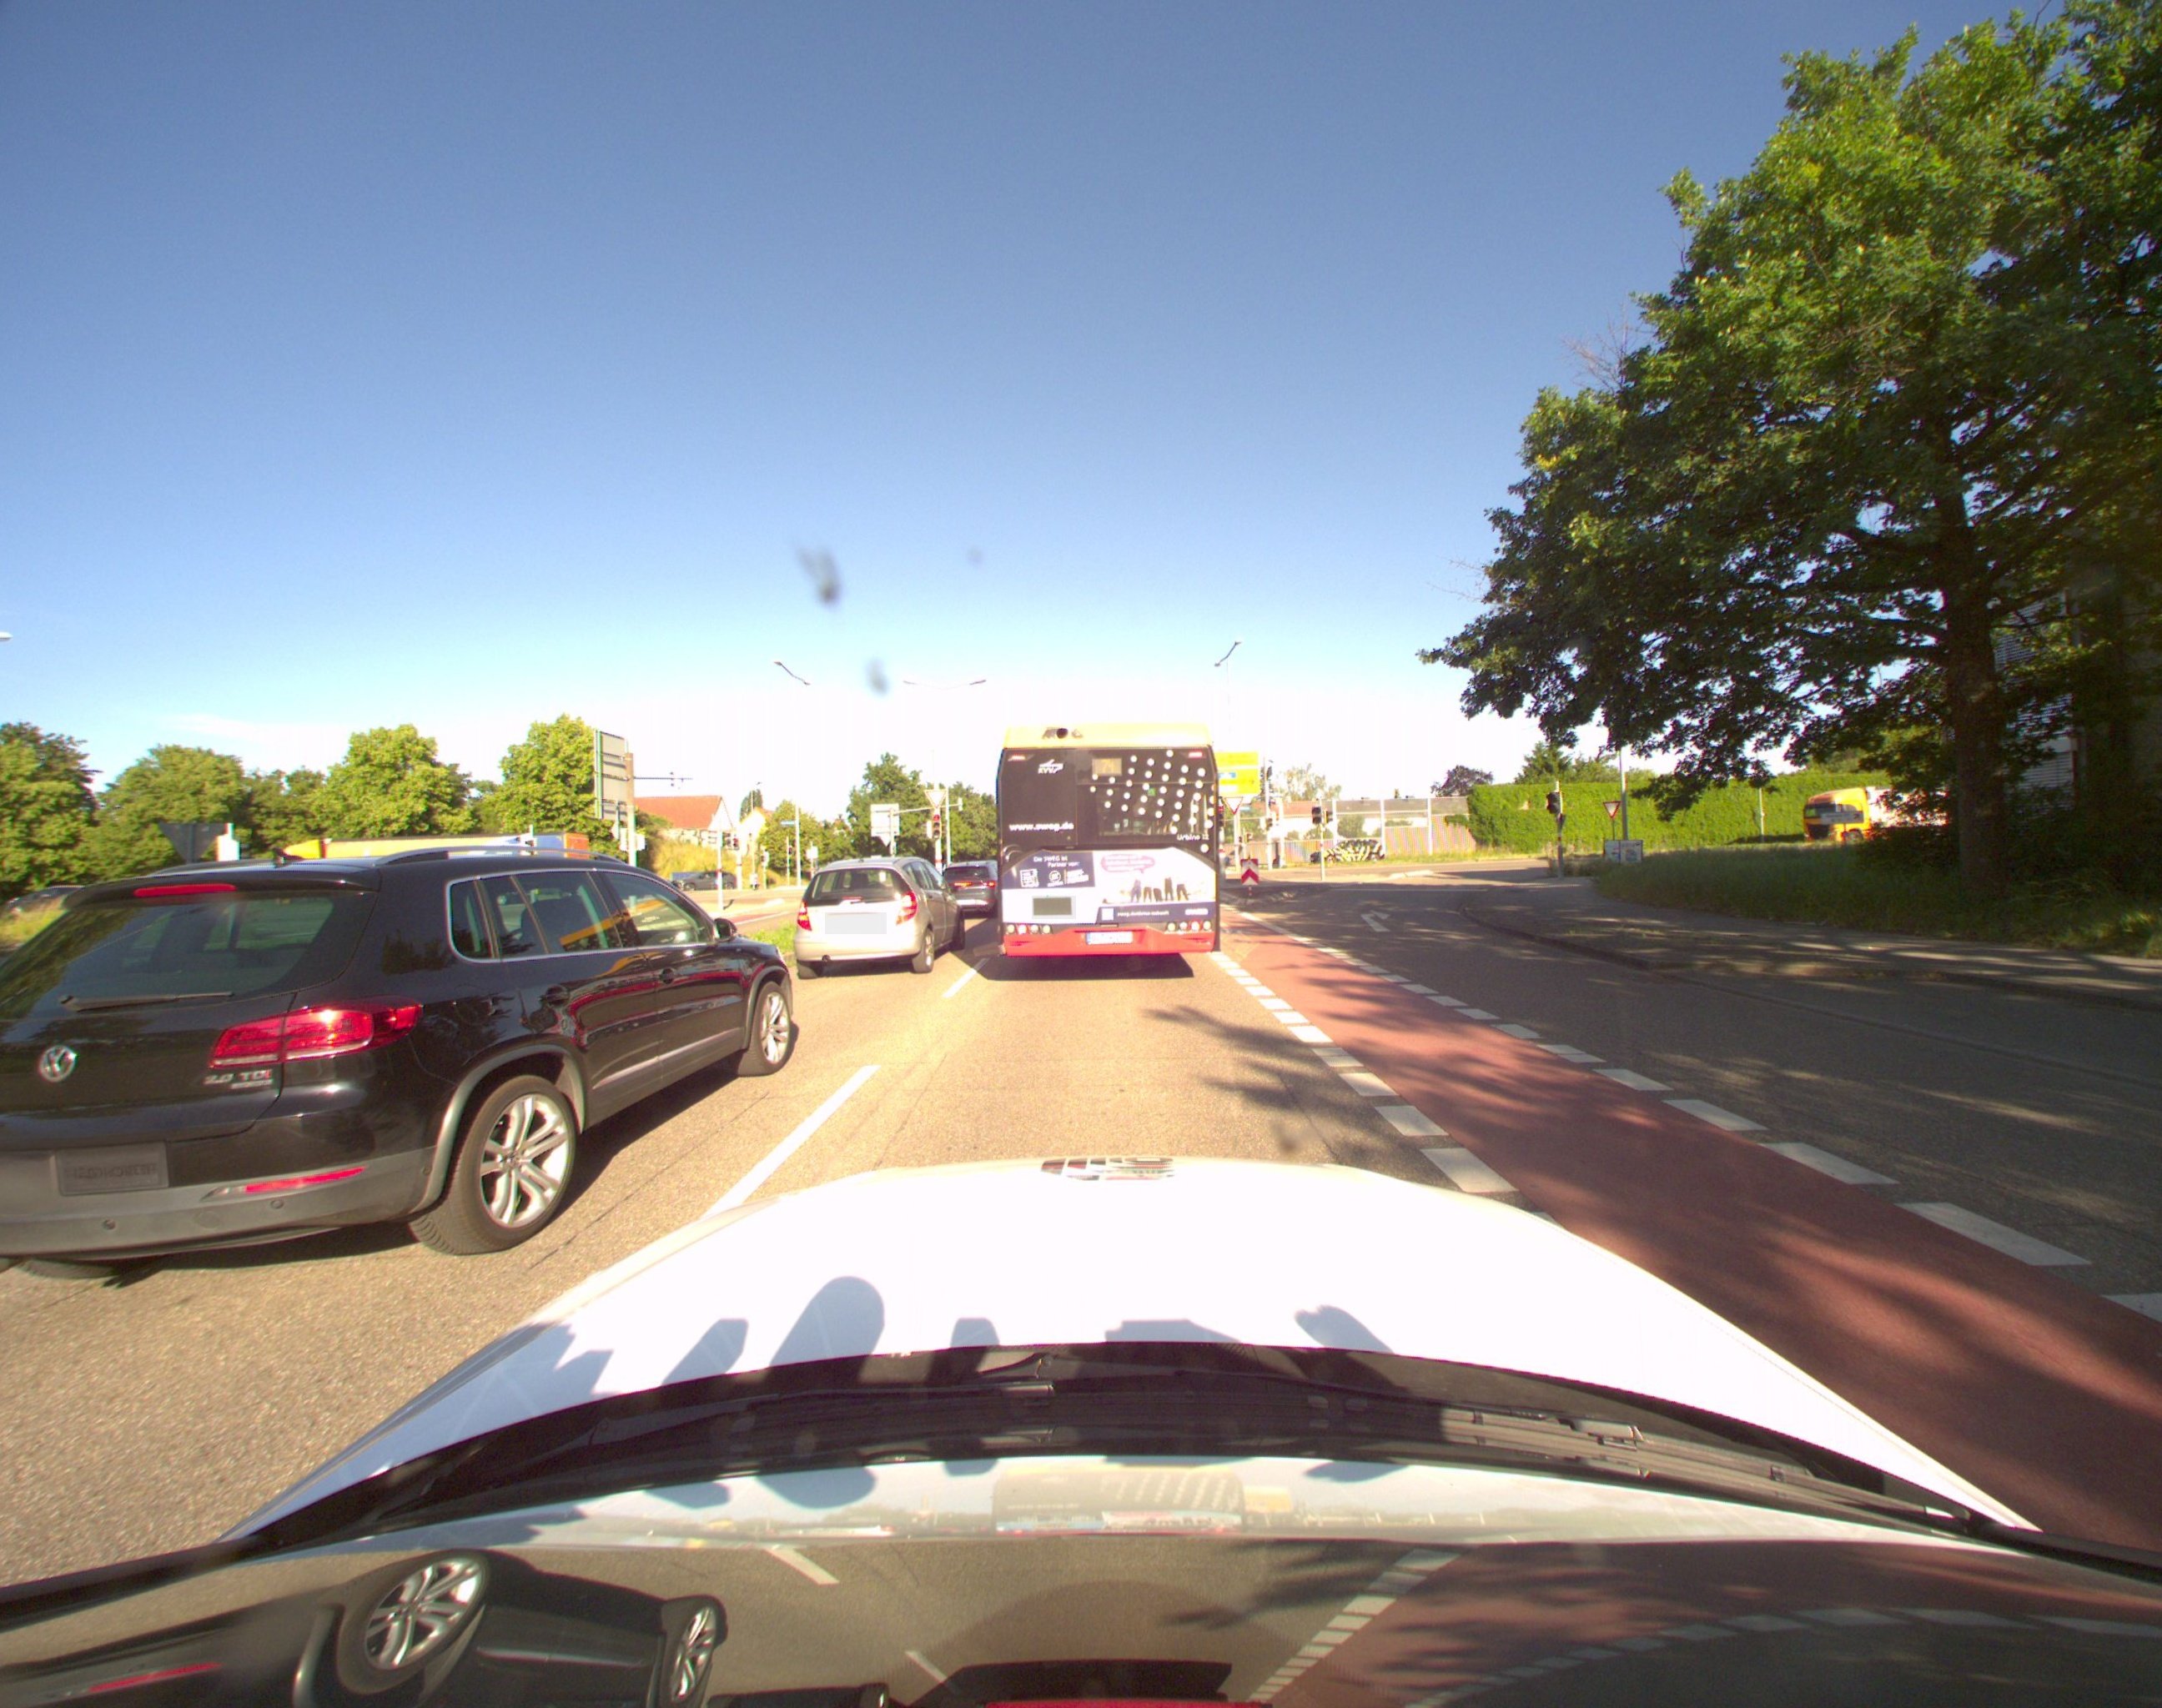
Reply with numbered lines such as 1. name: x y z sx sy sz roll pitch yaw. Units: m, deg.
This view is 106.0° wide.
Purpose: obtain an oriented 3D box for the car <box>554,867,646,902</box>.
1. car: -24.568 1.542 41.676 3.577 1.560 1.747 -2 0 -5

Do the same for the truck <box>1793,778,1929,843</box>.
1. truck: 55.889 -3.098 58.484 6.465 4.012 3.435 -4 0 -5

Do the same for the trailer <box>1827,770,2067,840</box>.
1. trailer: 62.668 -3.516 59.075 14.631 4.012 3.435 -4 0 -5

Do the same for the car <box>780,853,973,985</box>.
1. car: -2.873 0.824 12.383 1.755 1.589 4.001 -3 0 1

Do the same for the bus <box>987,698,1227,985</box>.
1. bus: 0.525 -0.165 15.021 2.632 3.167 11.867 -1 0 2

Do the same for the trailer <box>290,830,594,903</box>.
1. trailer: -38.918 0.739 50.190 15.284 4.185 3.435 0 -1 -5

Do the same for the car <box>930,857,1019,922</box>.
1. car: -2.686 0.857 21.317 1.686 1.458 3.751 -3 0 1

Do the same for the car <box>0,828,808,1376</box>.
1. car: -3.169 0.799 4.557 1.766 1.653 4.001 -3 0 1

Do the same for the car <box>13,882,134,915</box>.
1. car: -55.596 2.447 45.008 3.981 1.705 1.944 0 -1 -5

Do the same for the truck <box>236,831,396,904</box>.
1. truck: -46.327 0.783 49.538 6.210 4.197 3.435 0 -1 -5

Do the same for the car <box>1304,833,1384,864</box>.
1. car: 15.350 -0.318 47.683 4.057 1.526 1.767 -3 0 -2

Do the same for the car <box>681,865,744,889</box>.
1. car: -25.554 1.597 56.482 1.556 1.459 3.618 -3 -1 40
